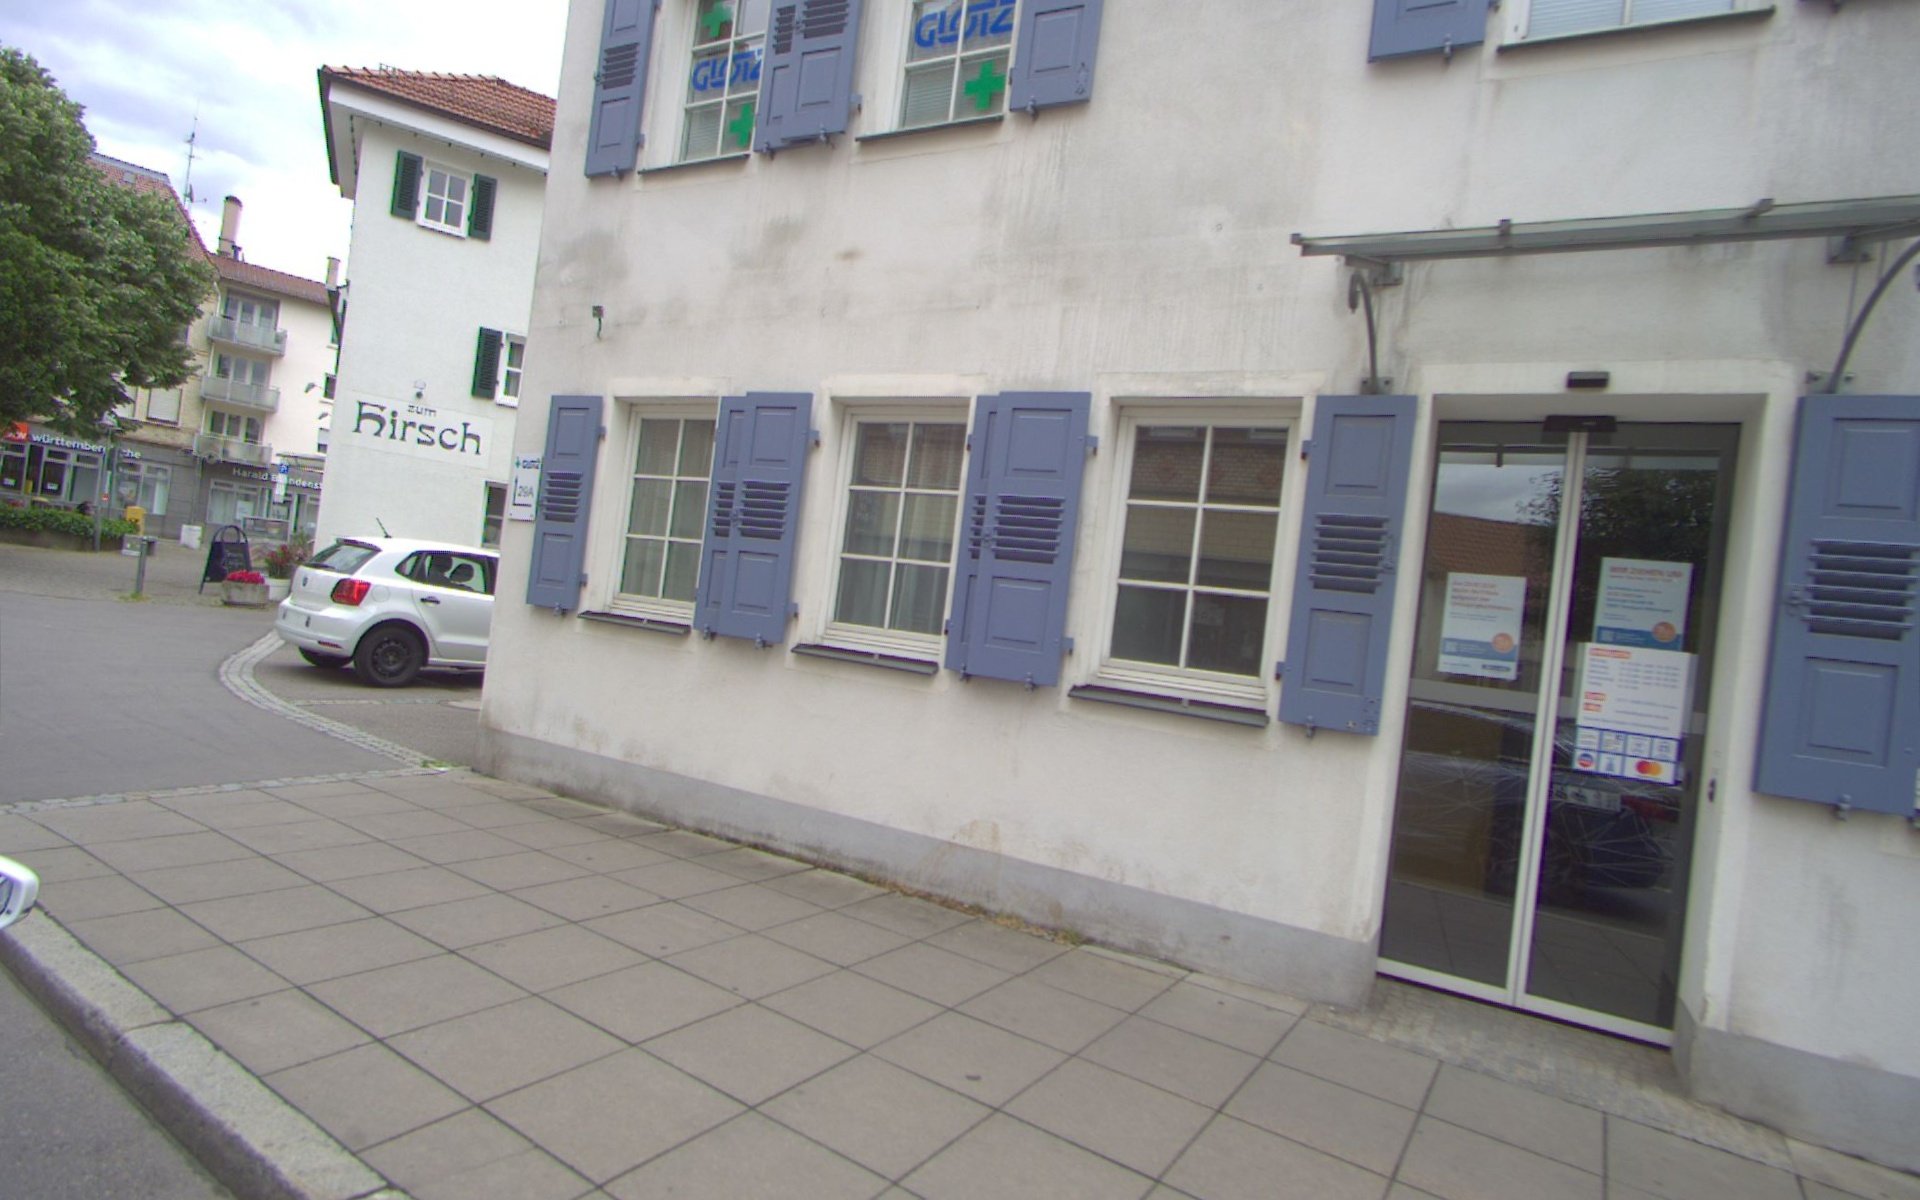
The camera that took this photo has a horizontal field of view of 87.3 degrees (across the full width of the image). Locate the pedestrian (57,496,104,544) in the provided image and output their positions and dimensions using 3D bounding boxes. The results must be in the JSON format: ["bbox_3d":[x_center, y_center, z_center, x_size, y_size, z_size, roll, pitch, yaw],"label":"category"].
[{"bbox_3d":[-28.806,-2.608,32.949,0.960,1.396,0.855,7,-2,38],"label":"pedestrian"}]

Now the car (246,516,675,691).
[{"bbox_3d":[-5.437,0.120,11.324,1.870,1.435,3.791,7,-1,39],"label":"car"}]
